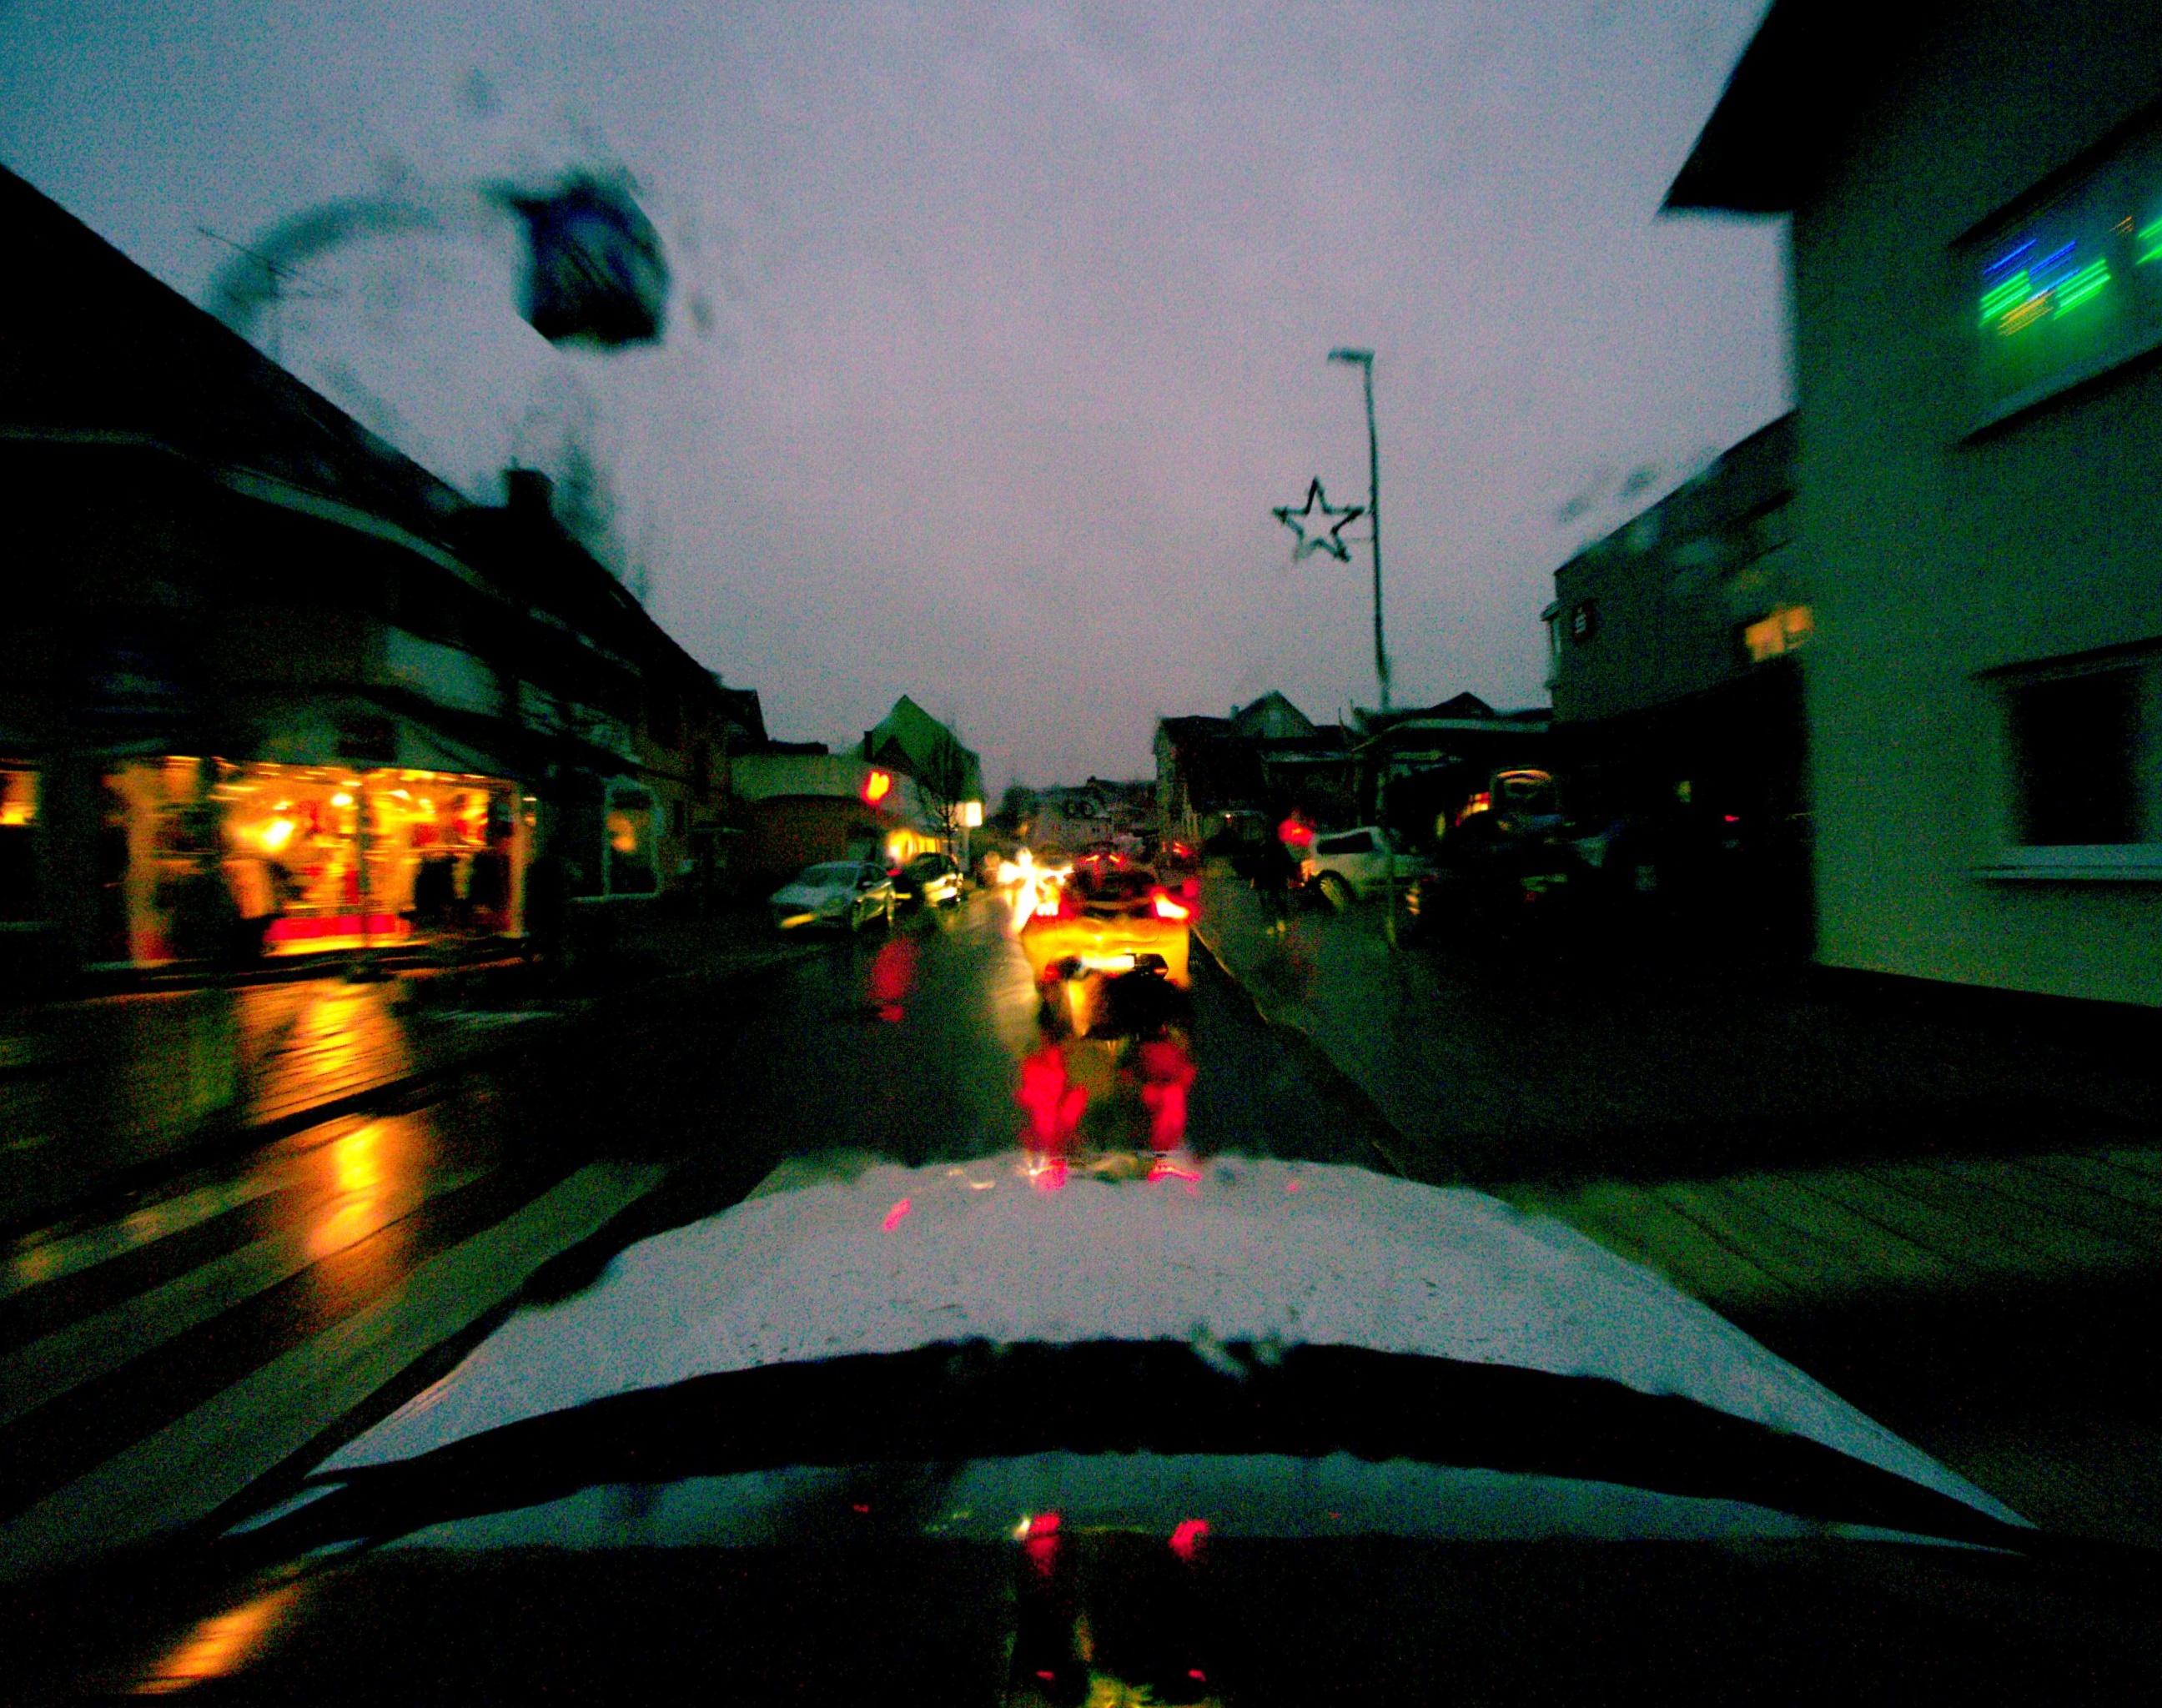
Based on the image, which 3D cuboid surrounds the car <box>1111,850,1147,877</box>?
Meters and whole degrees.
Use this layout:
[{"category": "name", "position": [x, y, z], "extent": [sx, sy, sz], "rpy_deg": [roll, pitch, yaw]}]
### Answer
[{"category": "car", "position": [2.963, 0.579, 50.910], "extent": [1.987, 1.588, 3.999], "rpy_deg": [0, 0, -1]}]

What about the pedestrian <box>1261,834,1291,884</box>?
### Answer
[{"category": "pedestrian", "position": [6.916, 0.171, 28.969], "extent": [0.702, 1.705, 0.913], "rpy_deg": [-3, 0, -5]}]

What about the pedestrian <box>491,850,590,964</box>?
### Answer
[{"category": "pedestrian", "position": [-8.223, 0.775, 12.444], "extent": [0.825, 1.658, 1.095], "rpy_deg": [0, 0, -6]}]

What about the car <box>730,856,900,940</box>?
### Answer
[{"category": "car", "position": [-5.531, 0.828, 17.672], "extent": [1.986, 1.558, 4.623], "rpy_deg": [0, 0, 2]}]

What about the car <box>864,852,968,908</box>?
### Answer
[{"category": "car", "position": [-4.933, 0.737, 25.146], "extent": [1.986, 1.522, 4.980], "rpy_deg": [-1, 0, 2]}]

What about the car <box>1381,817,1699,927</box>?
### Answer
[{"category": "car", "position": [7.138, 0.294, 13.037], "extent": [3.968, 1.486, 1.915], "rpy_deg": [-2, -1, 4]}]

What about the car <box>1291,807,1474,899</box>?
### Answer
[{"category": "car", "position": [7.648, -0.012, 21.092], "extent": [4.066, 2.049, 2.006], "rpy_deg": [-3, 0, 10]}]

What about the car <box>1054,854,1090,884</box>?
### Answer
[{"category": "car", "position": [-0.626, 0.915, 51.369], "extent": [1.948, 1.546, 4.410], "rpy_deg": [-3, 3, -4]}]

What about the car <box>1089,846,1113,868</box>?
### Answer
[{"category": "car", "position": [1.695, 0.240, 70.307], "extent": [1.987, 1.857, 3.999], "rpy_deg": [0, 0, 0]}]

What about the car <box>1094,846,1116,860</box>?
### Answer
[{"category": "car", "position": [3.202, -0.119, 110.240], "extent": [1.995, 1.610, 4.156], "rpy_deg": [-3, -1, -12]}]

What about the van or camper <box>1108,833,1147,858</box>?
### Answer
[{"category": "van or camper", "position": [6.303, -1.154, 110.958], "extent": [2.661, 3.047, 6.687], "rpy_deg": [-5, 1, -21]}]

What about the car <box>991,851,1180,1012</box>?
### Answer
[{"category": "car", "position": [0.077, 0.742, 9.812], "extent": [1.808, 1.533, 4.000], "rpy_deg": [0, 0, 1]}]

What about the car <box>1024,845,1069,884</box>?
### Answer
[{"category": "car", "position": [-1.628, 0.469, 40.052], "extent": [1.987, 1.705, 4.967], "rpy_deg": [1, 1, 0]}]

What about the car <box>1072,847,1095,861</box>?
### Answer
[{"category": "car", "position": [0.342, -0.022, 109.936], "extent": [1.997, 1.765, 4.329], "rpy_deg": [-3, 1, -15]}]

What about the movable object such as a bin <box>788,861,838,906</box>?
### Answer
[{"category": "movable object such as a bin", "position": [-8.928, 0.965, 27.157], "extent": [1.339, 1.354, 0.887], "rpy_deg": [-4, 0, -8]}]

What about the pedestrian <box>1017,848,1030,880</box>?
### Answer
[{"category": "pedestrian", "position": [-2.974, 0.512, 41.958], "extent": [0.572, 1.585, 0.530], "rpy_deg": [-1, 1, 0]}]

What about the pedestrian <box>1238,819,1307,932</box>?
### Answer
[{"category": "pedestrian", "position": [3.310, 0.361, 14.178], "extent": [0.963, 1.889, 1.005], "rpy_deg": [0, 0, -1]}]

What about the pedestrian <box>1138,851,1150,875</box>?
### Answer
[{"category": "pedestrian", "position": [4.586, 0.670, 59.358], "extent": [0.743, 1.729, 0.872], "rpy_deg": [-1, 1, -1]}]

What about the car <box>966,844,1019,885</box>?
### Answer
[{"category": "car", "position": [-4.073, 0.439, 38.320], "extent": [2.081, 1.792, 5.020], "rpy_deg": [-1, 0, -2]}]

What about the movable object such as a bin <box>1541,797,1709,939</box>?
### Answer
[{"category": "movable object such as a bin", "position": [6.953, 0.163, 10.502], "extent": [1.281, 1.644, 1.185], "rpy_deg": [-4, 0, -1]}]

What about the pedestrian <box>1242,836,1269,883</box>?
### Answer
[{"category": "pedestrian", "position": [6.459, 0.200, 30.217], "extent": [0.838, 1.705, 0.840], "rpy_deg": [-3, 0, 6]}]

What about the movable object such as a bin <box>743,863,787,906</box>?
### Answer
[{"category": "movable object such as a bin", "position": [-10.459, 0.998, 26.986], "extent": [1.149, 1.354, 0.849], "rpy_deg": [-1, 0, -9]}]

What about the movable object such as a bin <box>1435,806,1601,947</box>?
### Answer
[{"category": "movable object such as a bin", "position": [5.599, 0.269, 10.560], "extent": [1.389, 1.644, 1.261], "rpy_deg": [-4, 0, -1]}]
